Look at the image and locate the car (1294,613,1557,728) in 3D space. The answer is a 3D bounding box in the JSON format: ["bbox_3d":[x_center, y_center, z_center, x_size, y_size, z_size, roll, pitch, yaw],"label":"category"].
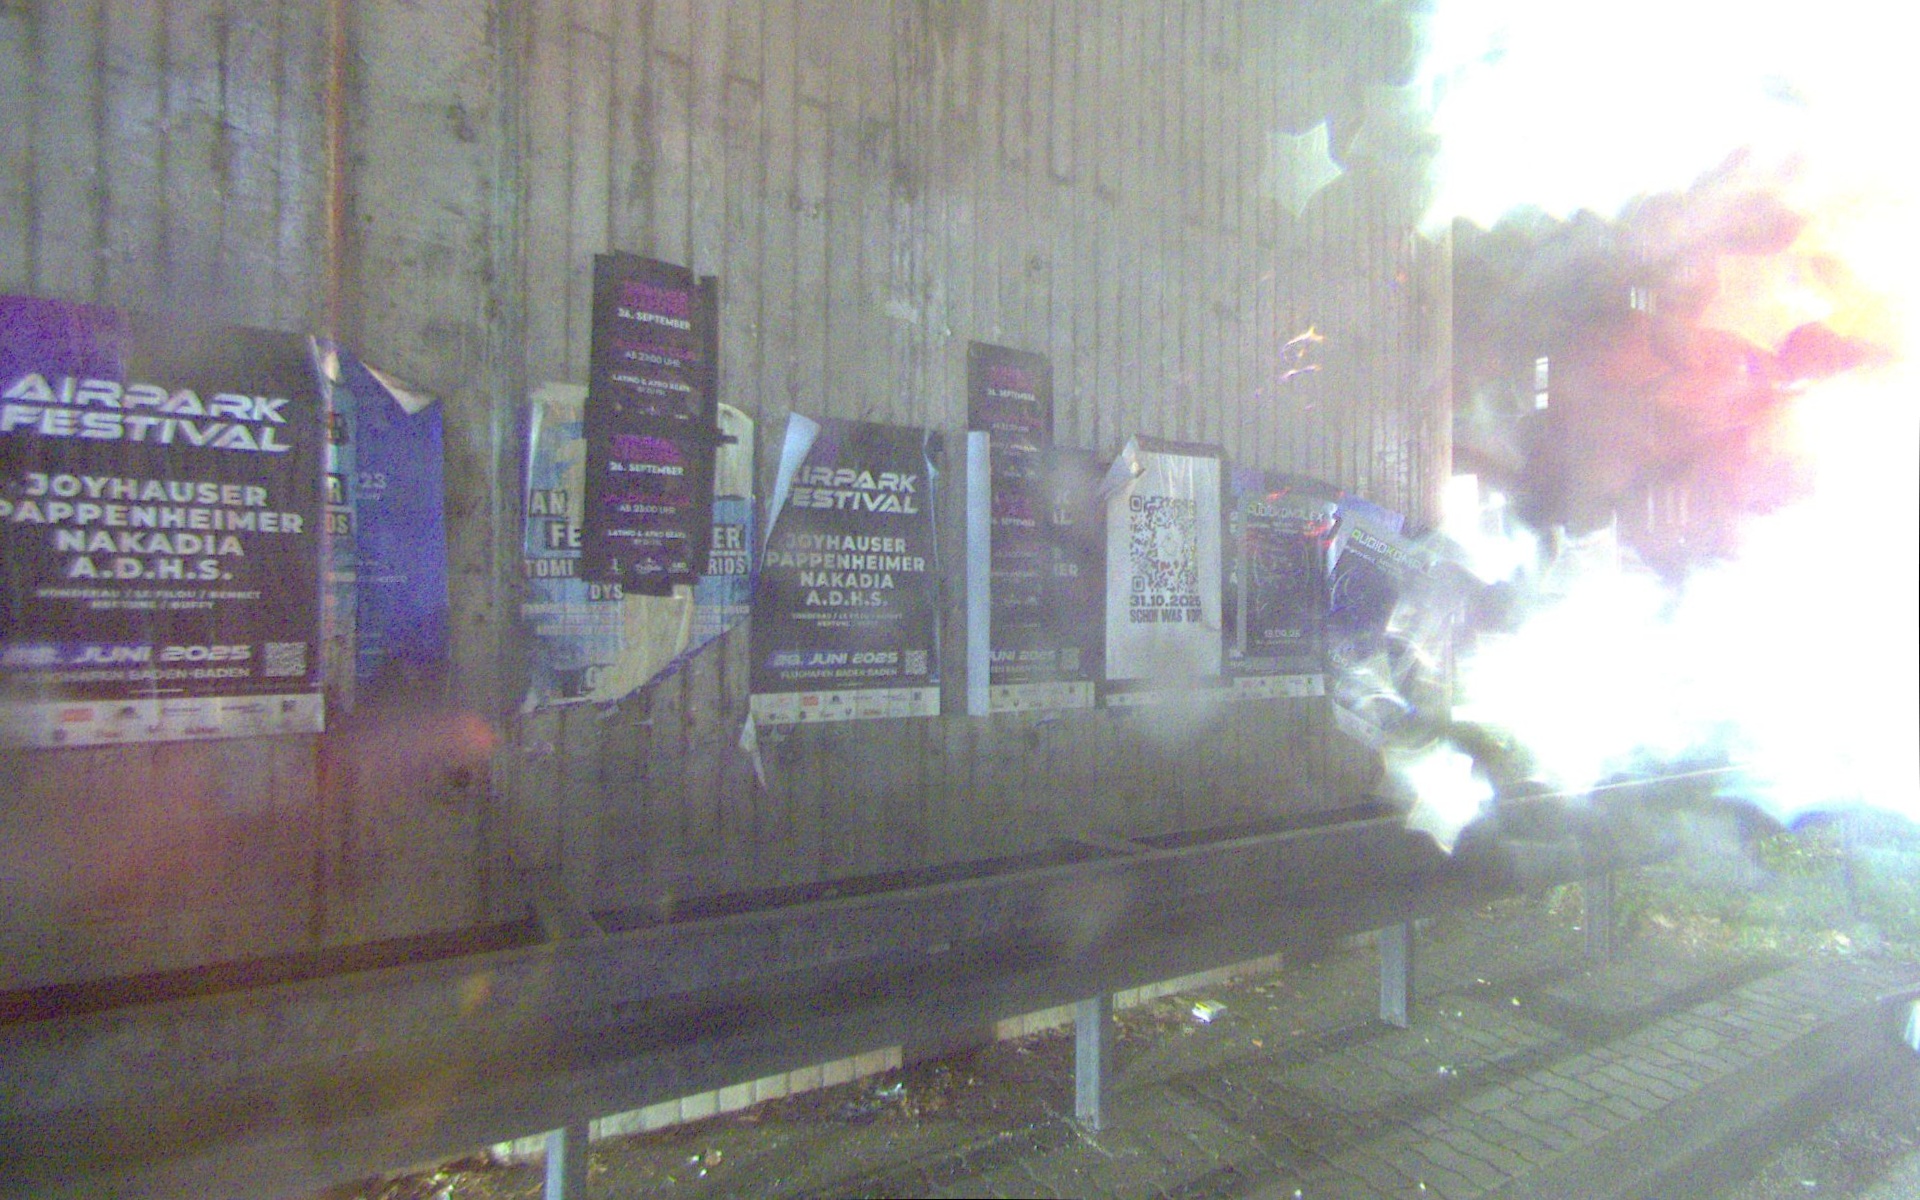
[{"bbox_3d":[7.906,1.146,16.977,4.443,1.731,1.743,2,-3,-28],"label":"car"}]

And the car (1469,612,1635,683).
[{"bbox_3d":[14.415,1.141,24.428,3.953,1.585,1.792,2,-1,-30],"label":"car"}]

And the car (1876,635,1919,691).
[{"bbox_3d":[29.473,1.898,30.016,4.382,1.572,1.876,2,-1,-30],"label":"car"}]
